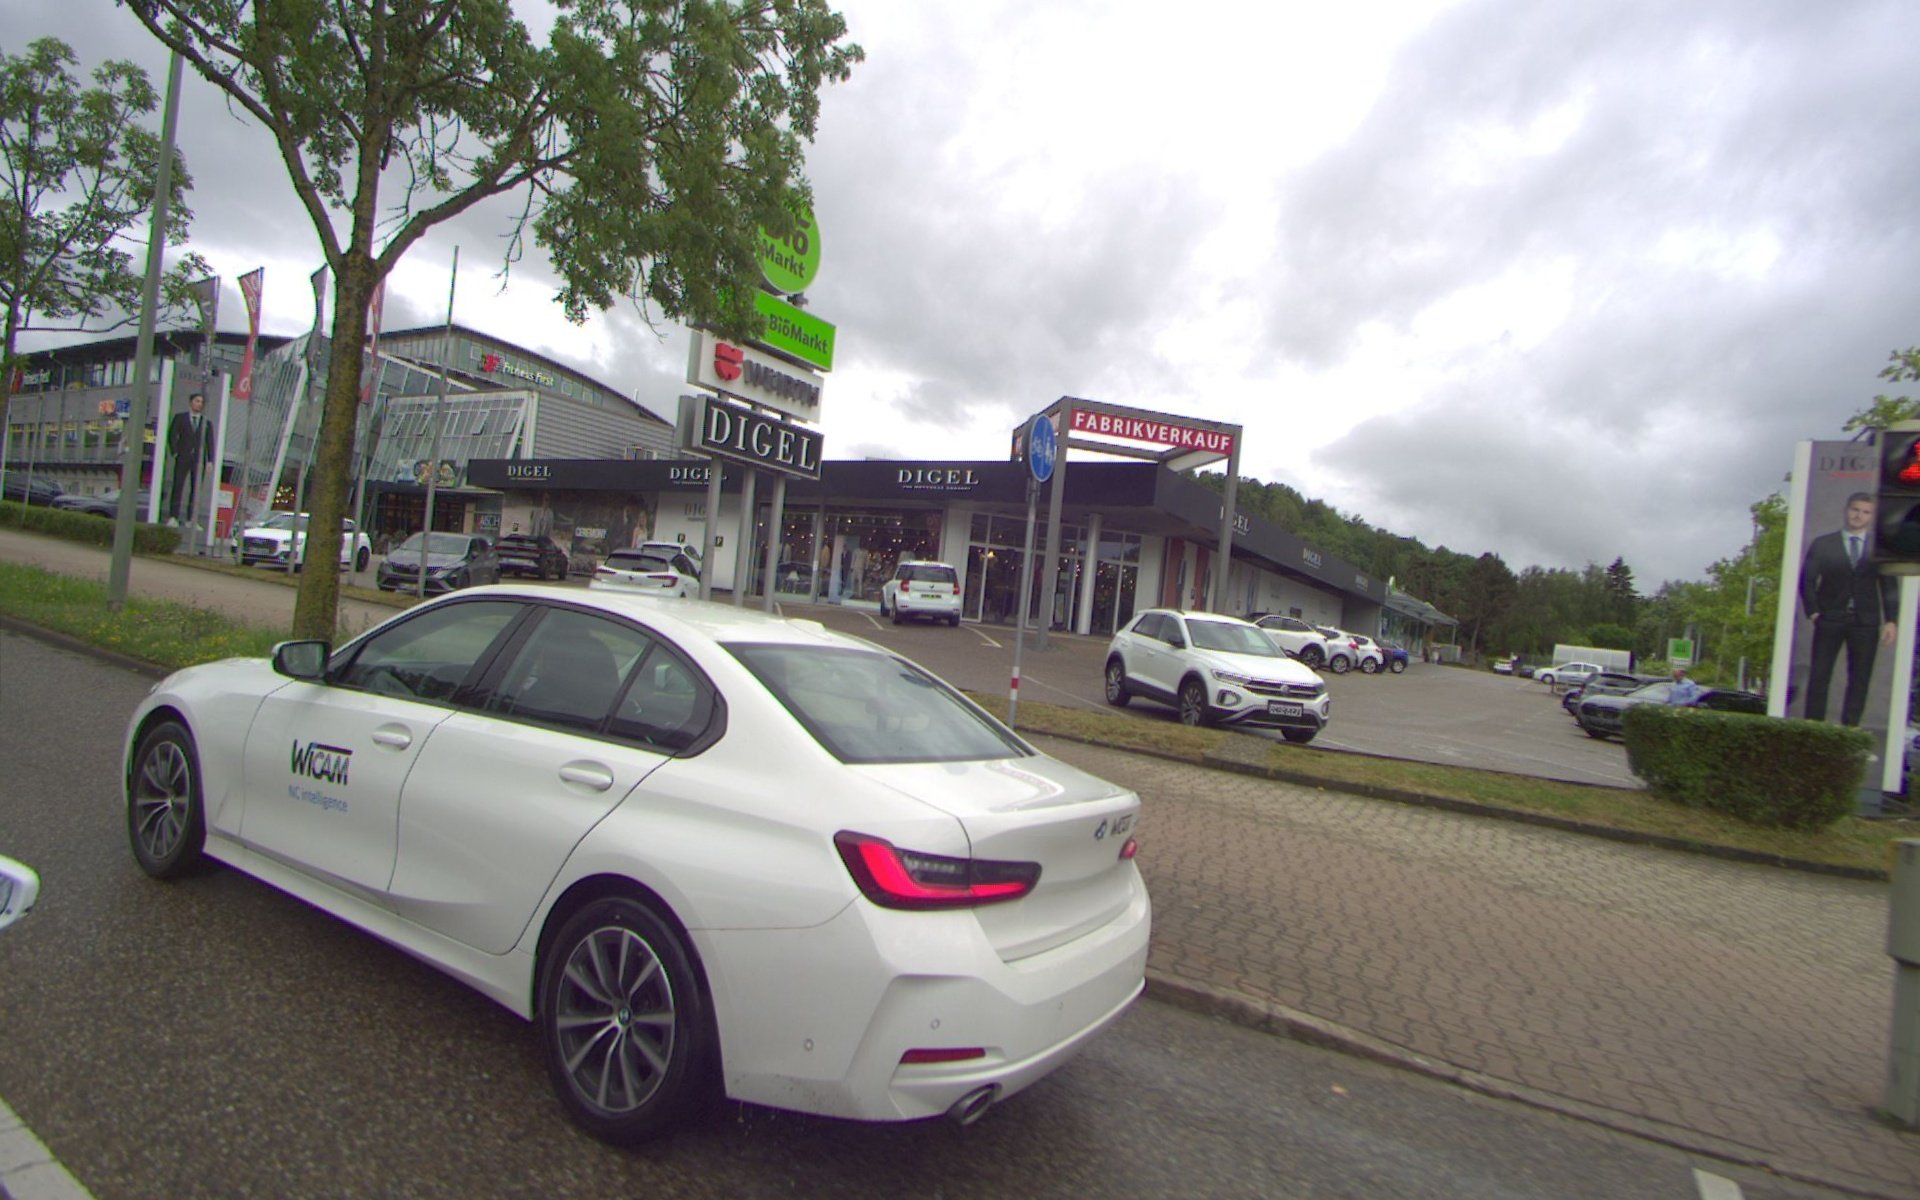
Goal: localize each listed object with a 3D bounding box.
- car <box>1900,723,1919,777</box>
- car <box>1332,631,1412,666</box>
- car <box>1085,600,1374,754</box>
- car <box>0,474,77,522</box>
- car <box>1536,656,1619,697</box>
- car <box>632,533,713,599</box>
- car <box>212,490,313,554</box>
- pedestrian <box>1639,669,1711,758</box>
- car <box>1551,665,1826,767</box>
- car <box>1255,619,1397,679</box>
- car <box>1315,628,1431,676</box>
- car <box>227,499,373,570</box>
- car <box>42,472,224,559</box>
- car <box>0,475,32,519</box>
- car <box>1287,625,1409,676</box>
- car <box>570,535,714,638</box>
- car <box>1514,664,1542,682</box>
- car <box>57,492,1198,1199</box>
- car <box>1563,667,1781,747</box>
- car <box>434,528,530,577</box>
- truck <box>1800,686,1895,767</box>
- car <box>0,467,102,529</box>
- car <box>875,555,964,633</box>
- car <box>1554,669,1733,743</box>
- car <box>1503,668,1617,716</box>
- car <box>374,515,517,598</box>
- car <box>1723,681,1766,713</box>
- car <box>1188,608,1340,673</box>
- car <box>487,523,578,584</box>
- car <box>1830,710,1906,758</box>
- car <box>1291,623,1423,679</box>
[{"bbox_3d":[34.303,5.346,34.740,1.788,1.763,3.982,6,0,32],"label":"car"},{"bbox_3d":[20.107,2.380,49.120,3.190,1.286,1.538,7,0,-8],"label":"car"},{"bbox_3d":[3.562,0.955,14.279,1.902,1.596,4.273,6,0,-16],"label":"car"},{"bbox_3d":[-38.246,-4.235,40.220,1.772,1.554,4.110,7,-1,38],"label":"car"},{"bbox_3d":[36.426,4.490,59.377,3.936,1.816,1.994,7,0,34],"label":"car"},{"bbox_3d":[-9.197,-1.021,32.441,1.708,1.793,4.149,6,0,-7],"label":"car"},{"bbox_3d":[-26.167,-2.864,37.901,1.770,1.965,4.026,7,0,-17],"label":"car"},{"bbox_3d":[14.338,2.251,20.195,0.710,1.634,0.800,7,1,7],"label":"pedestrian"},{"bbox_3d":[15.768,2.493,21.852,4.929,1.504,1.995,7,0,-13],"label":"car"},{"bbox_3d":[12.498,1.660,34.500,4.079,1.499,1.736,7,0,-4],"label":"car"},{"bbox_3d":[17.411,2.187,42.480,4.083,1.499,1.735,7,0,-8],"label":"car"},{"bbox_3d":[-17.726,-1.707,27.232,1.765,1.555,3.593,7,0,-7],"label":"car"},{"bbox_3d":[-26.896,-2.706,32.858,1.770,2.131,4.114,7,0,33],"label":"car"},{"bbox_3d":[-41.890,-4.592,42.123,1.772,1.724,4.110,7,-1,38],"label":"car"},{"bbox_3d":[15.443,2.003,40.141,4.083,1.499,1.735,7,0,-8],"label":"car"},{"bbox_3d":[-6.358,-0.317,20.598,1.948,1.685,4.019,7,2,-7],"label":"car"},{"bbox_3d":[62.813,8.038,111.221,1.788,1.617,3.983,7,0,40],"label":"car"},{"bbox_3d":[-1.586,0.589,4.152,4.543,1.562,1.805,6,-2,31],"label":"car"},{"bbox_3d":[17.480,2.609,24.811,4.082,1.395,1.983,7,-3,-8],"label":"car"},{"bbox_3d":[-17.796,-1.708,37.688,1.799,1.487,4.150,7,0,-5],"label":"car"},{"bbox_3d":[32.462,4.552,36.926,1.788,2.516,3.982,6,0,32],"label":"truck"},{"bbox_3d":[-35.821,-3.970,38.509,1.770,1.928,4.113,7,0,34],"label":"car"},{"bbox_3d":[-1.190,-0.181,27.593,1.709,1.793,4.146,6,0,-10],"label":"car"},{"bbox_3d":[22.444,3.466,33.100,4.849,1.812,1.997,7,-3,-12],"label":"car"},{"bbox_3d":[28.920,4.406,48.655,4.361,1.639,1.935,7,0,25],"label":"car"},{"bbox_3d":[-11.568,-0.911,22.876,1.615,1.555,3.594,6,0,-7],"label":"car"},{"bbox_3d":[63.726,7.869,81.775,1.966,2.217,3.992,7,1,30],"label":"car"},{"bbox_3d":[9.463,1.246,31.497,4.083,1.499,1.735,7,0,-8],"label":"car"},{"bbox_3d":[-14.991,-1.572,35.489,1.708,1.793,4.149,6,0,-7],"label":"car"},{"bbox_3d":[41.995,6.146,46.611,1.788,1.762,3.983,7,0,32],"label":"car"},{"bbox_3d":[14.578,1.868,37.032,4.083,1.499,1.735,7,0,-8],"label":"car"}]
